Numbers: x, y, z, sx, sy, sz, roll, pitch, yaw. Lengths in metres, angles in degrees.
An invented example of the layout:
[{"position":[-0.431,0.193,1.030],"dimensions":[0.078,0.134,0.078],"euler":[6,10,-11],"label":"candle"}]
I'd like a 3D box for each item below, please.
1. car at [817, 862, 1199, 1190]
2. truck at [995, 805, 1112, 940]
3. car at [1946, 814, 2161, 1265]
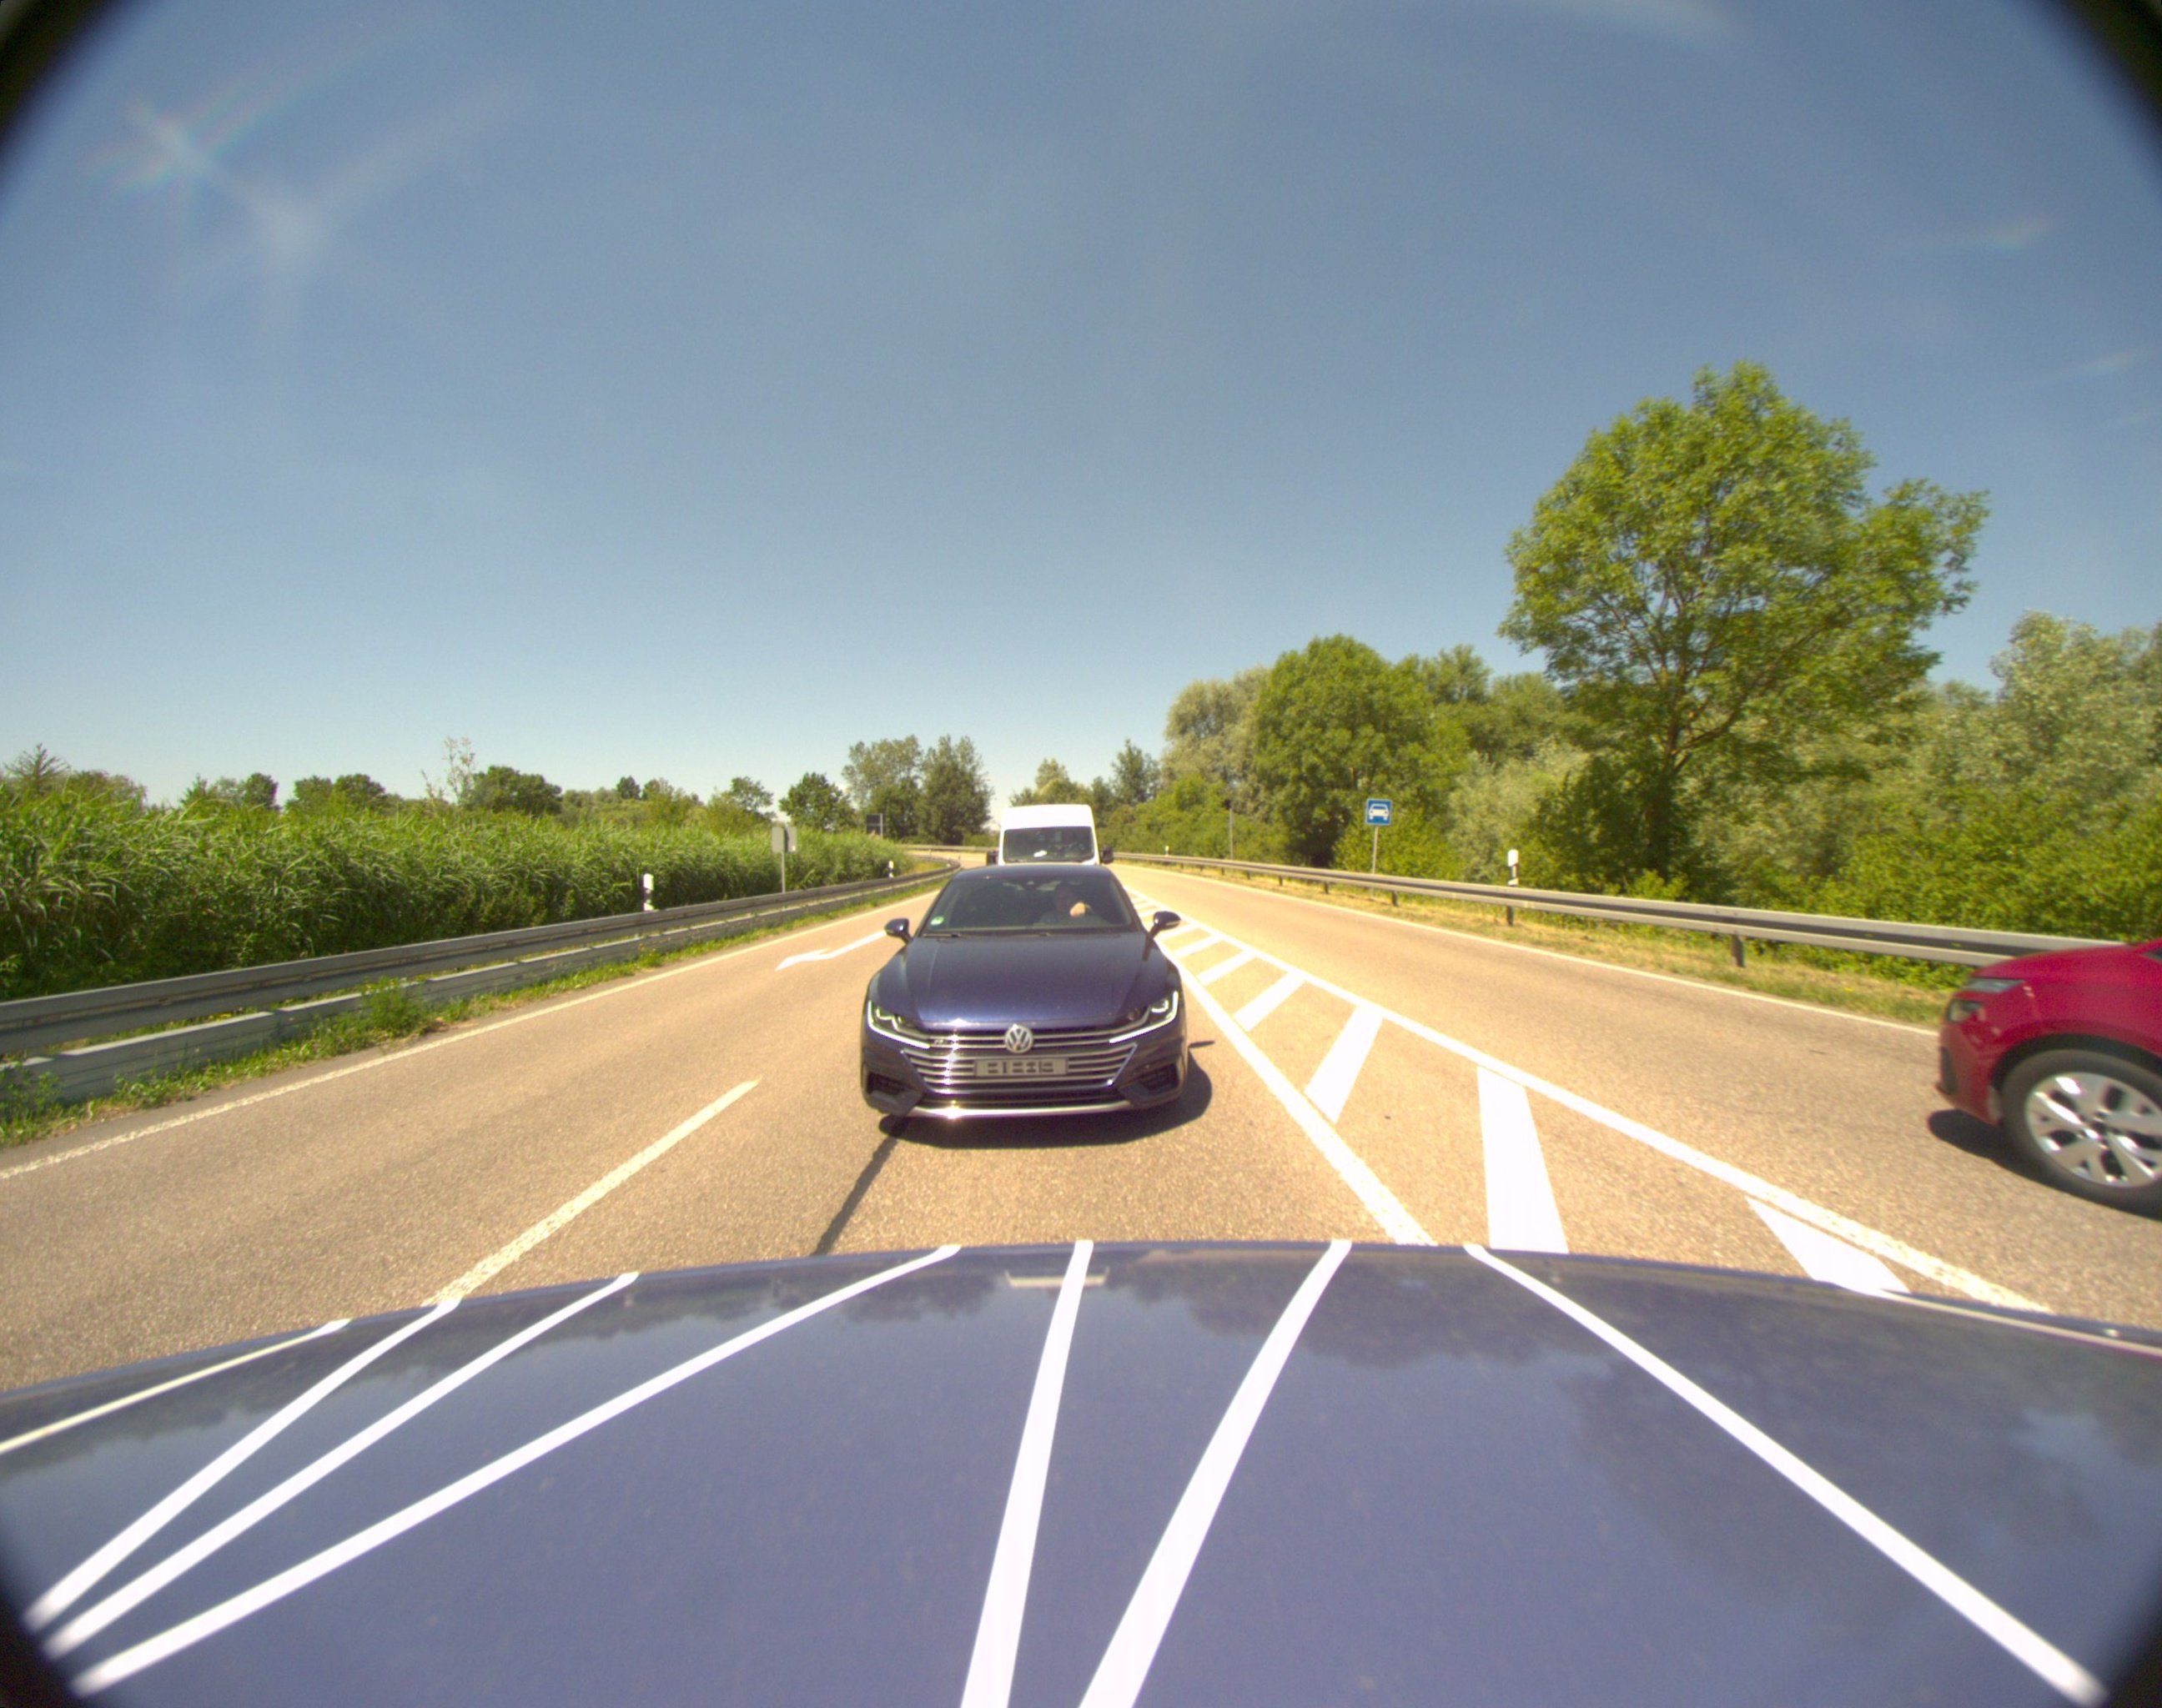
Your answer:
[{"position":[-0.325,0.865,5.902],"dimensions":[1.819,1.454,4.415],"euler":[-2,1,1],"label":"car"},{"position":[-0.668,0.295,16.500],"dimensions":[2.011,2.365,5.909],"euler":[-2,1,-4],"label":"truck"},{"position":[4.982,0.709,1.436],"dimensions":[1.741,1.676,4.207],"euler":[0,1,-4],"label":"car"}]
